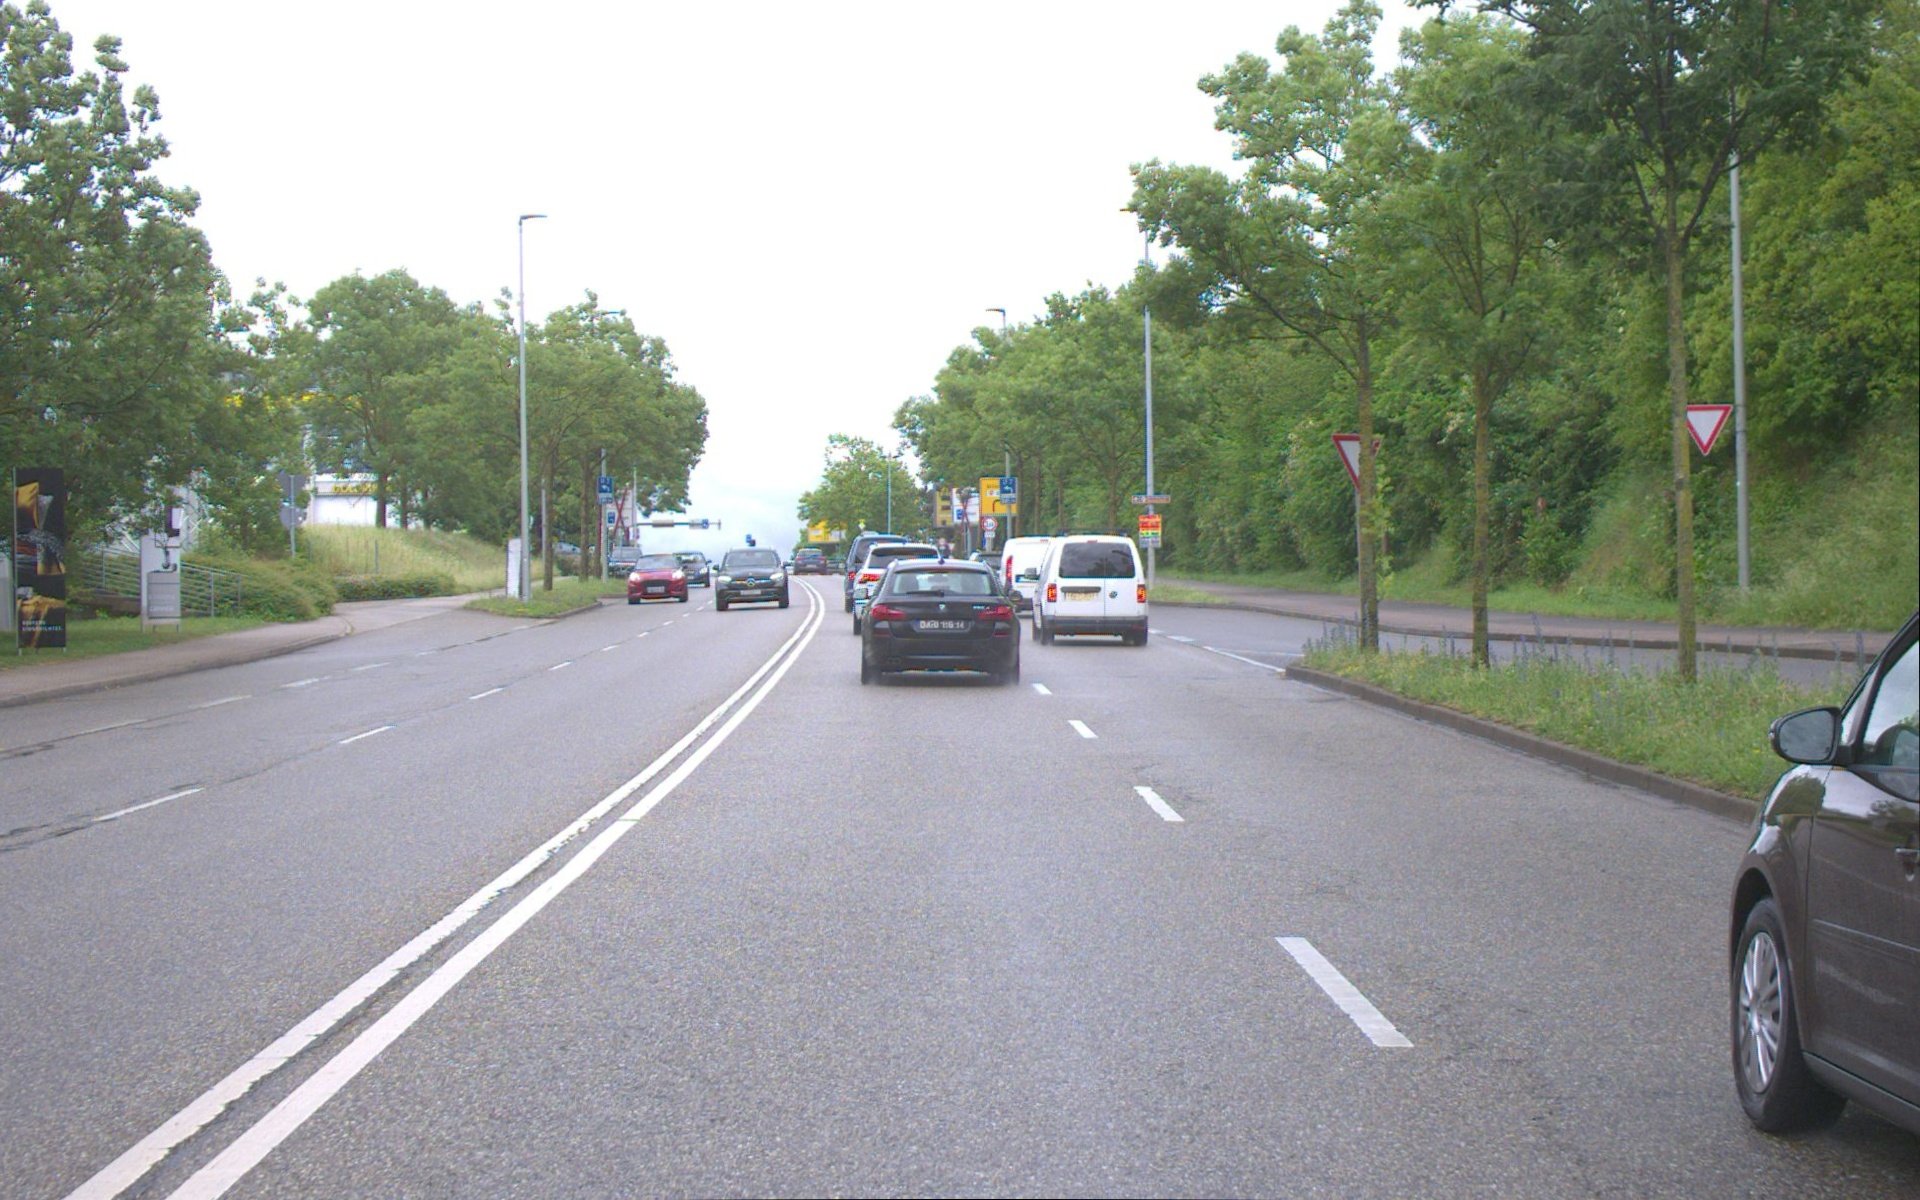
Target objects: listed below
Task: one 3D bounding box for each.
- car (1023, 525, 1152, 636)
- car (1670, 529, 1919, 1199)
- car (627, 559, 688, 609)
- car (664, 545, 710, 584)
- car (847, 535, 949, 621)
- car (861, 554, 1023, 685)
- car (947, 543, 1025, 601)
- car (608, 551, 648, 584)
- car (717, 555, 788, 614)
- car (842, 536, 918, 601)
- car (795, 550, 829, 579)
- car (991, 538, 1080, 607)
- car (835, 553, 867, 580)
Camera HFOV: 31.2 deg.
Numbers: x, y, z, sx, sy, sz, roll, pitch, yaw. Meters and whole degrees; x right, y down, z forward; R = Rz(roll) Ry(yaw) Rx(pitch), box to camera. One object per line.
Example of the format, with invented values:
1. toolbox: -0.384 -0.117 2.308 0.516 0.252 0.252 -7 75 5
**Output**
1. car: 2.088 -0.348 57.212 1.827 1.753 4.000 1 1 -2
2. car: 2.889 0.648 7.470 1.685 1.575 4.219 1 1 -2
3. car: -9.382 -0.495 106.900 1.794 1.505 4.000 1 0 -4
4. car: -11.102 -1.435 140.019 1.794 1.505 4.000 1 0 -4
5. car: -1.165 -0.393 63.022 1.794 1.505 4.000 1 0 -2
6. car: -0.210 0.197 40.918 1.827 1.463 4.000 0 1 0
7. car: 0.695 -0.760 93.444 1.794 1.505 4.000 1 0 -4
8. car: -16.089 -1.563 166.688 1.794 1.505 4.000 1 0 -4
9. car: -5.498 -0.403 90.829 1.794 1.505 4.000 1 0 -4
10. car: -1.928 -0.749 83.542 1.794 1.505 4.000 1 0 -1
11. car: -8.043 -1.941 187.356 1.794 1.505 4.000 1 0 -2
12. car: 1.698 -0.607 78.742 1.794 1.505 4.000 1 0 -2
13. car: -6.287 -1.916 198.536 1.794 1.505 4.000 1 0 -2
